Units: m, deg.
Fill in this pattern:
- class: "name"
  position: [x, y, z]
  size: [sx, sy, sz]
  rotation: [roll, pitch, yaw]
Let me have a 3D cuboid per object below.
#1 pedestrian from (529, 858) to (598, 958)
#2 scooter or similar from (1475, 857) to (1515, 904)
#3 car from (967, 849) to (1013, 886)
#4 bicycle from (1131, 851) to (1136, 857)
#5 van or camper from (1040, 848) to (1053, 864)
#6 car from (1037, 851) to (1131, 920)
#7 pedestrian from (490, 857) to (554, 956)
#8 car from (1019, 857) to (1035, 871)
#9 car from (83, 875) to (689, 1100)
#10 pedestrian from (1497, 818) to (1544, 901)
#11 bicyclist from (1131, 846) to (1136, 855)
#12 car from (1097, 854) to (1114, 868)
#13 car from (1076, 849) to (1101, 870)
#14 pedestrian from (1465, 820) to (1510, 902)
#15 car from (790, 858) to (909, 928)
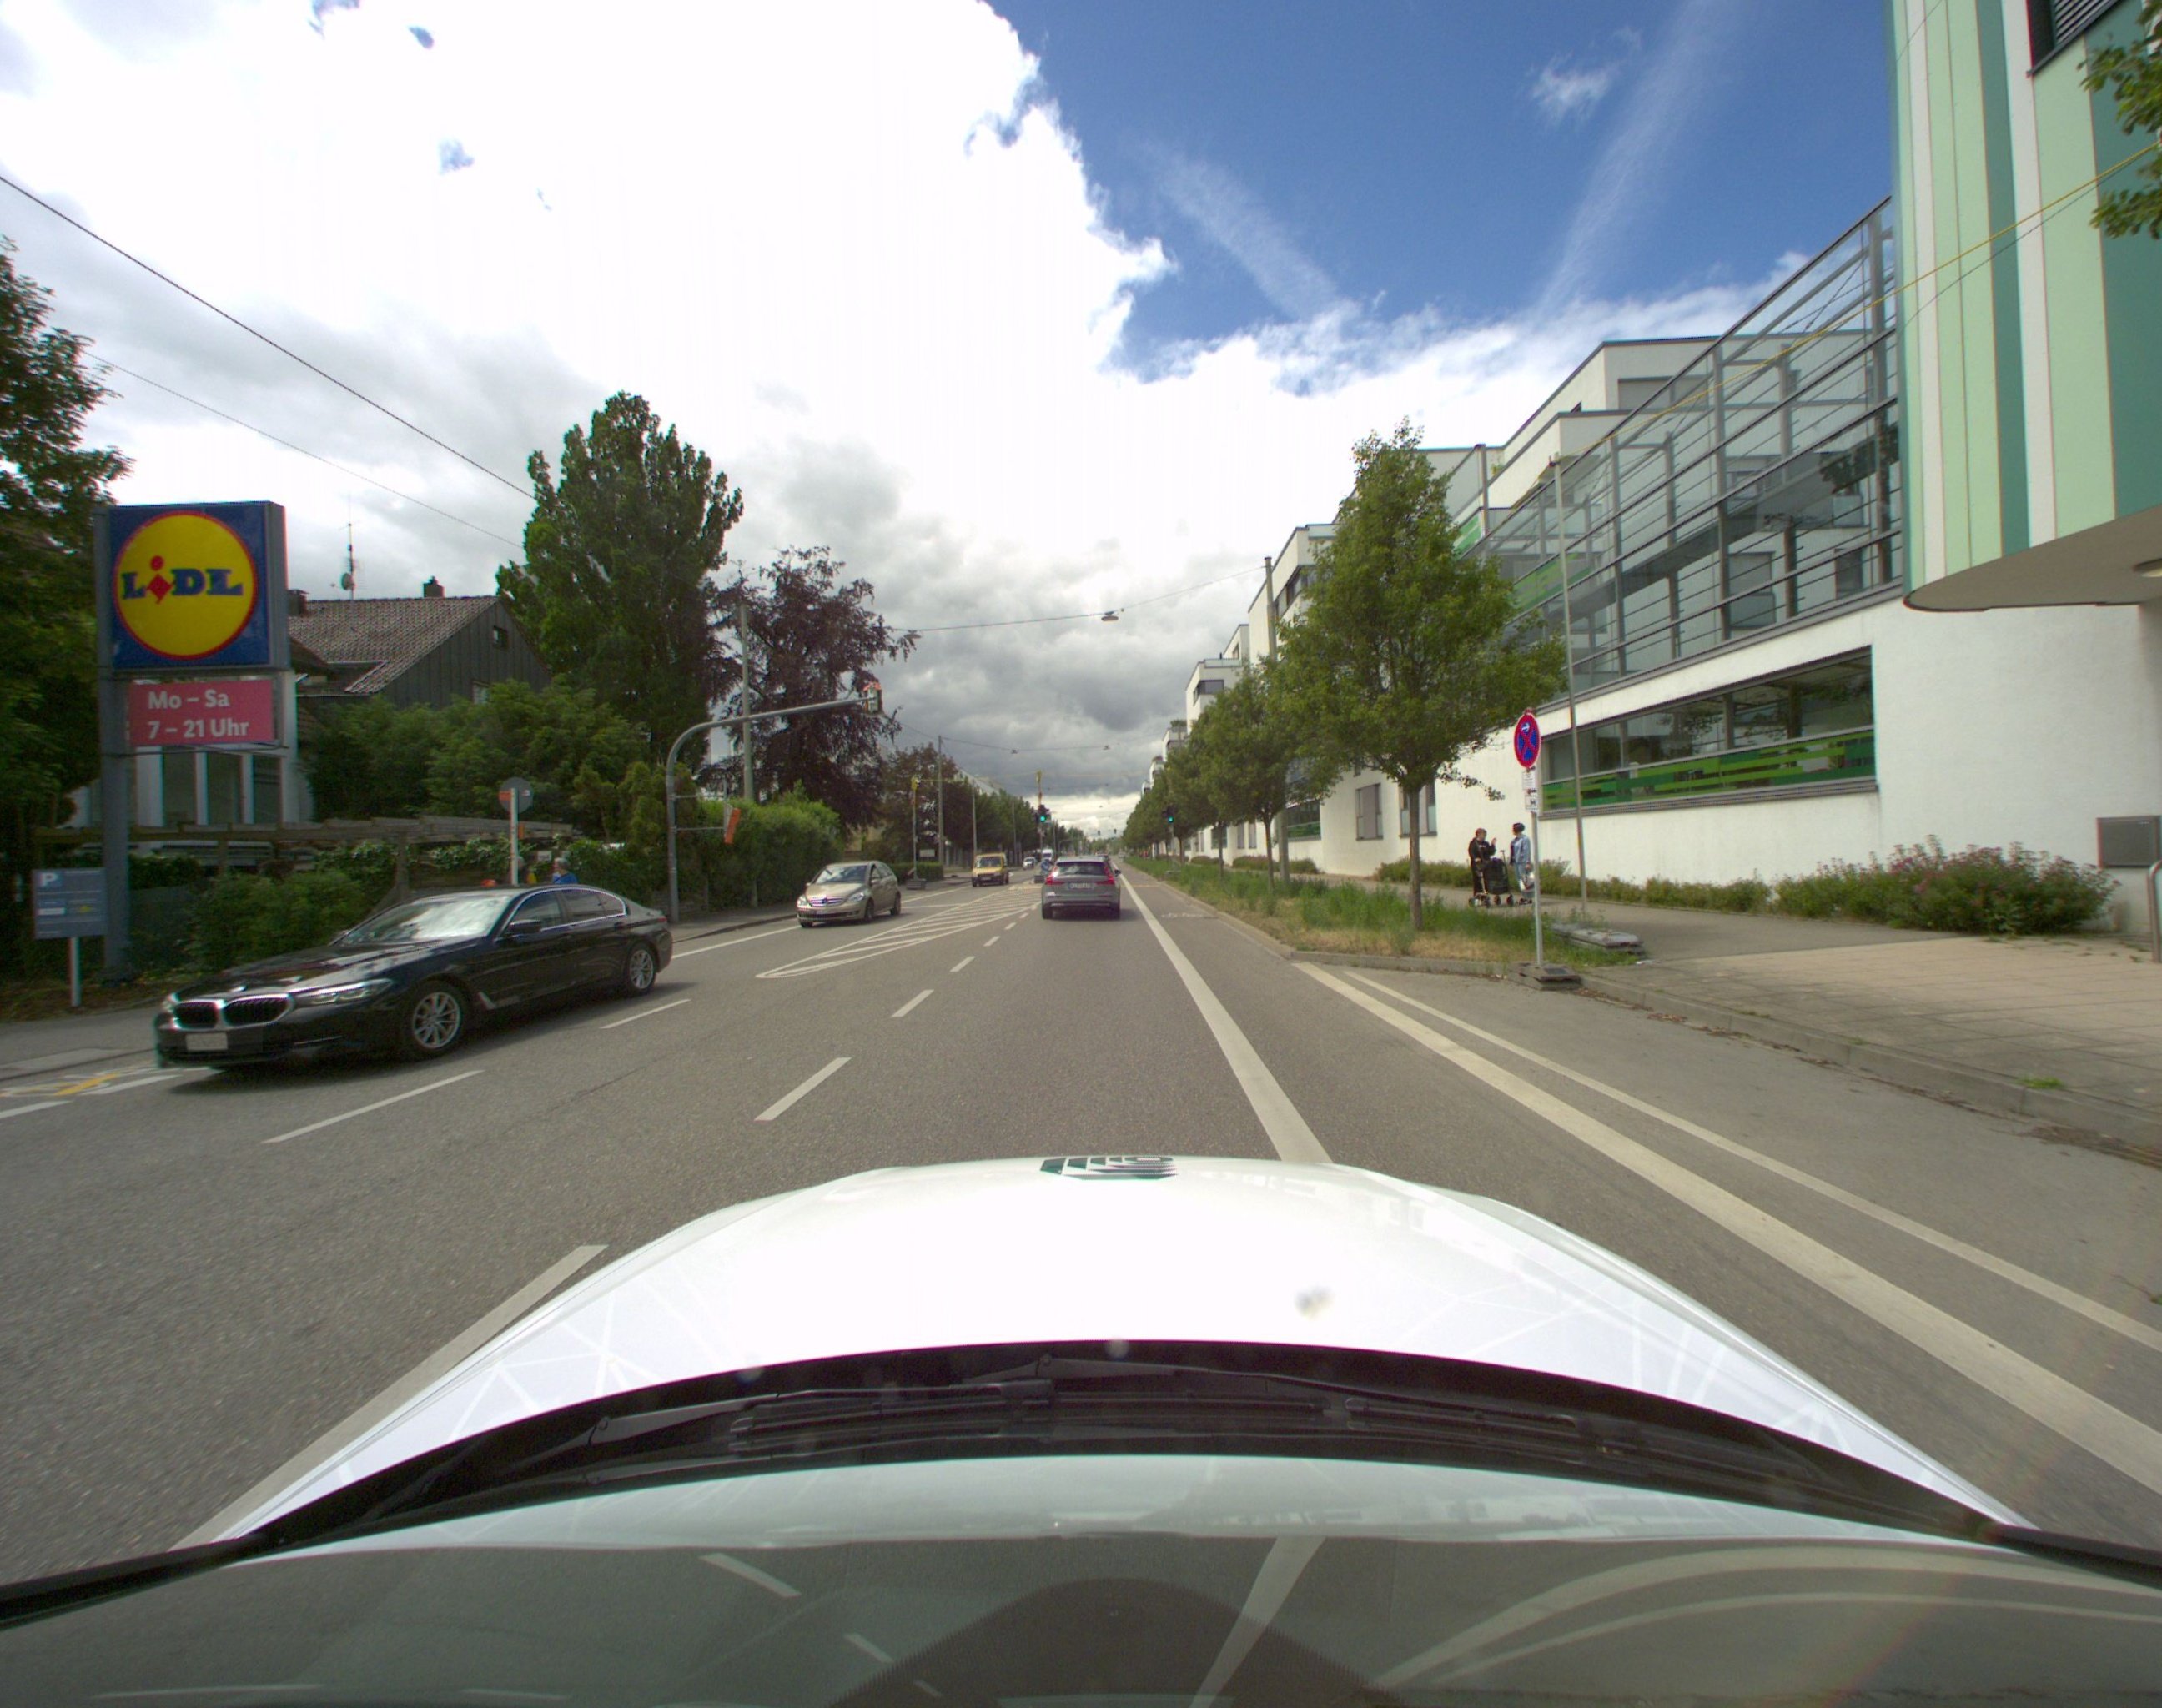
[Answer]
- class: "pedestrian"
  position: [-10.092, 1.031, 15.915]
  size: [0.679, 1.854, 0.893]
  rotation: [-3, -1, 2]
- class: "scooter or similar"
  position: [8.395, 0.521, 16.529]
  size: [0.420, 0.905, 0.682]
  rotation: [-3, 0, 1]
- class: "car"
  position: [-5.083, 0.713, 46.100]
  size: [1.834, 1.904, 4.687]
  rotation: [-3, 0, 1]
- class: "bicycle"
  position: [11.959, -0.001, 185.367]
  size: [1.063, 1.453, 2.978]
  rotation: [-3, 0, 1]
- class: "van or camper"
  position: [-5.964, 0.325, 141.028]
  size: [1.989, 2.734, 6.046]
  rotation: [-3, 0, -3]
- class: "car"
  position: [0.184, 0.713, 20.339]
  size: [1.844, 1.513, 4.008]
  rotation: [-1, 0, 7]
- class: "pedestrian"
  position: [-10.906, 1.005, 15.917]
  size: [0.679, 1.854, 0.707]
  rotation: [-3, -1, 1]
- class: "car"
  position: [-6.661, 1.213, 100.621]
  size: [1.655, 1.515, 4.001]
  rotation: [-2, 0, 1]
- class: "car"
  position: [-6.331, 1.055, 8.464]
  size: [1.986, 1.399, 4.813]
  rotation: [-4, 0, 2]
- class: "pedestrian"
  position: [9.012, 0.113, 16.715]
  size: [0.548, 1.655, 0.607]
  rotation: [-3, 0, 1]
- class: "bicyclist"
  position: [11.897, -0.713, 185.391]
  size: [1.010, 2.013, 1.131]
  rotation: [-3, 0, 1]
- class: "car"
  position: [2.769, 0.759, 92.430]
  size: [1.838, 1.513, 4.001]
  rotation: [-1, 0, 1]
- class: "car"
  position: [0.624, 0.410, 63.299]
  size: [1.848, 1.513, 4.001]
  rotation: [-1, 0, 1]
- class: "pedestrian"
  position: [8.463, 0.144, 16.962]
  size: [0.603, 1.655, 0.552]
  rotation: [-3, 0, 1]
- class: "car"
  position: [-6.070, 0.953, 21.889]
  size: [1.743, 1.555, 4.404]
  rotation: [-3, 0, 2]
